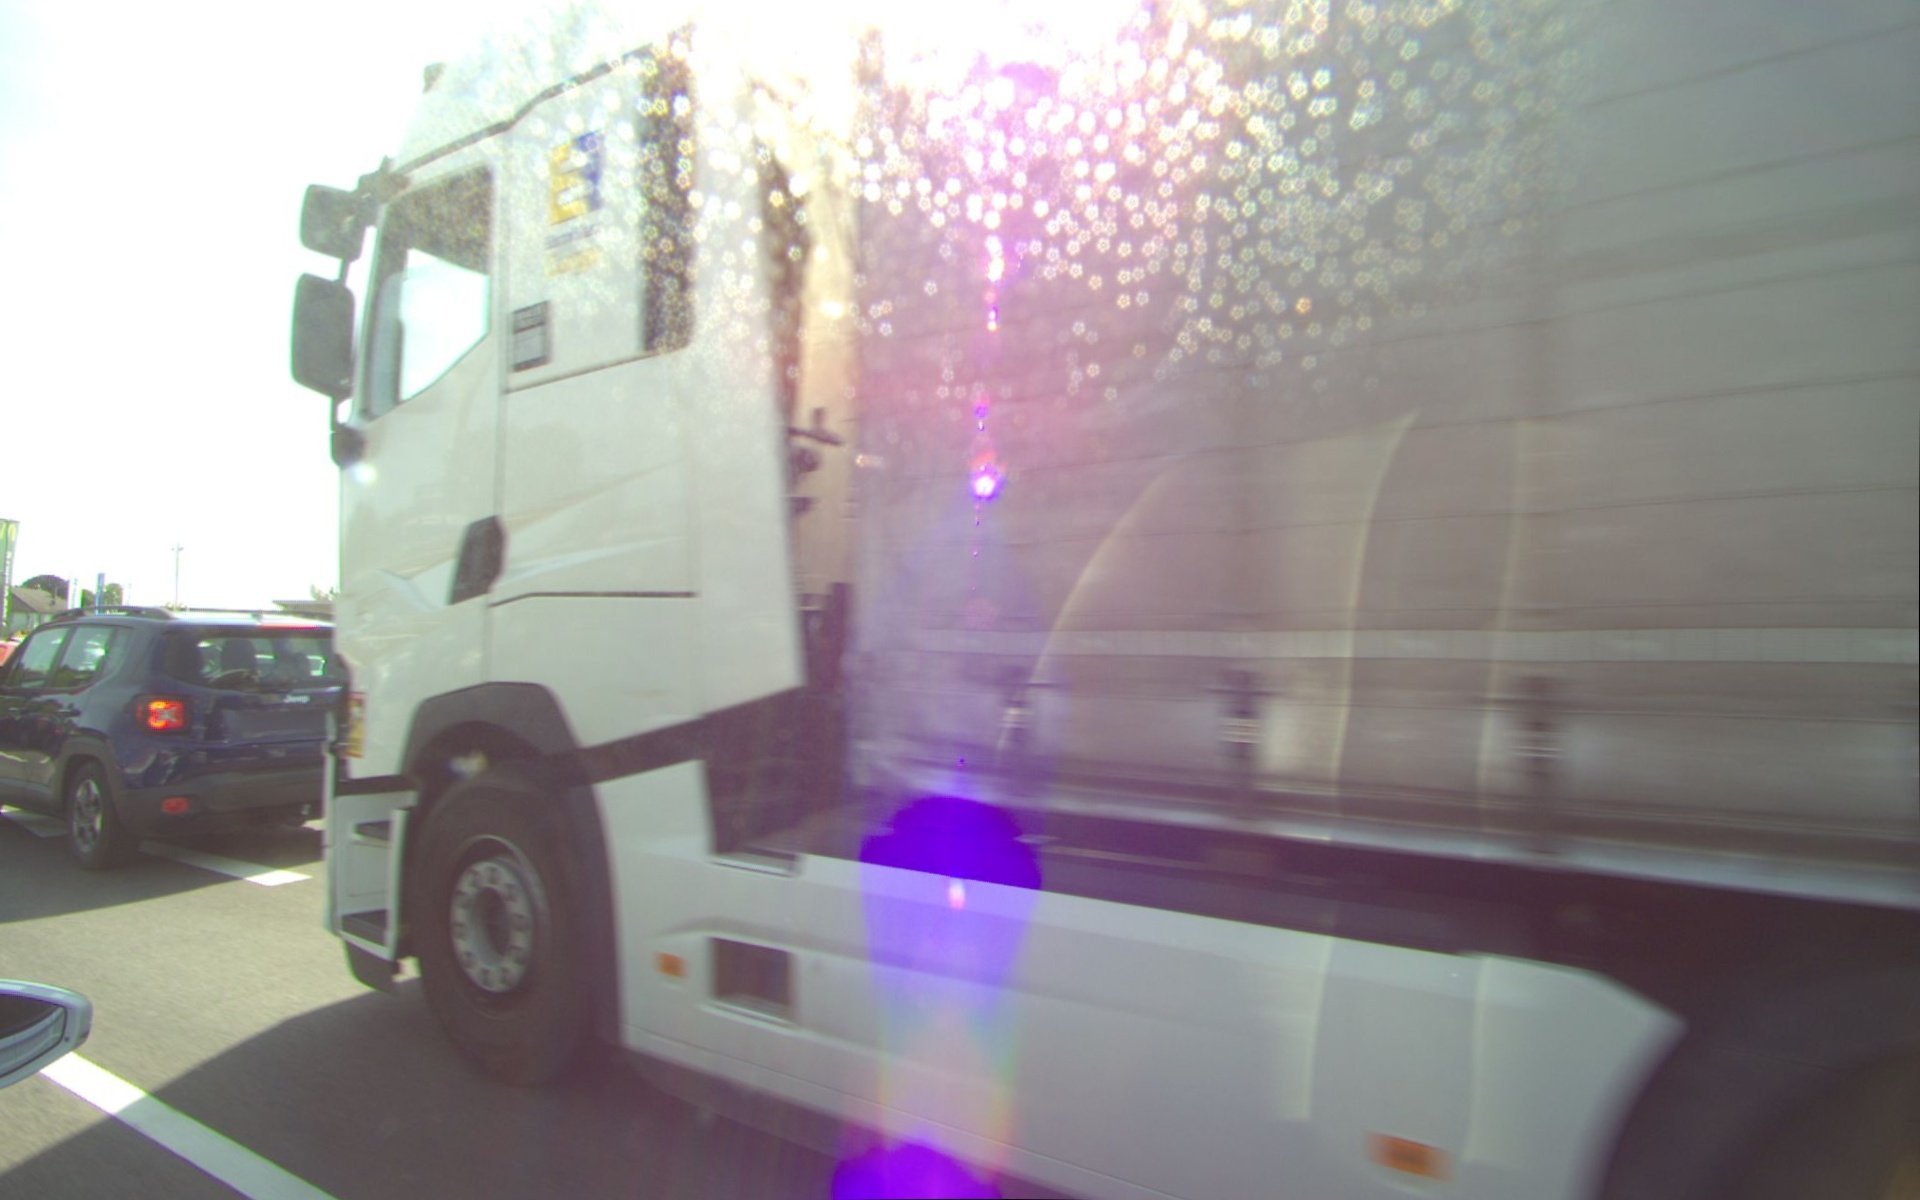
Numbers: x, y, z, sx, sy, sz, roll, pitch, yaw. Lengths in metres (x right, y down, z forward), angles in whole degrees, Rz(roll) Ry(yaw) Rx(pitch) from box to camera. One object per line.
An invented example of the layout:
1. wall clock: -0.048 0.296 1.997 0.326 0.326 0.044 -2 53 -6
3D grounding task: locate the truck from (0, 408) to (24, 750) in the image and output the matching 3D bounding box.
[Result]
1. truck: -19.801 -0.238 15.742 16.340 4.323 2.954 -1 -3 31

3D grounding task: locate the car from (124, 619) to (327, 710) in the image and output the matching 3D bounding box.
1. car: -17.218 1.506 23.722 1.669 1.945 3.849 1 -3 6

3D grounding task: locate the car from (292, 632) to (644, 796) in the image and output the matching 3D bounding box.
1. car: -5.448 1.111 10.965 3.943 1.490 1.656 -1 -2 32

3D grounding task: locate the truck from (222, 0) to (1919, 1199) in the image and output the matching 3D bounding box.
1. truck: 4.707 -0.666 0.699 16.477 4.319 2.885 -1 -2 34

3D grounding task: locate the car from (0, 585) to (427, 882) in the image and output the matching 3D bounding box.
1. car: -6.042 0.821 7.599 3.943 1.706 1.816 -1 -2 32

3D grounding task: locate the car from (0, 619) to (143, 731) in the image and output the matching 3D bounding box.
1. car: -15.787 1.194 16.996 3.943 1.706 1.816 -1 -2 32

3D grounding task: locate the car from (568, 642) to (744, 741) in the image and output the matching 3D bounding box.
1. car: -4.895 1.447 16.730 1.705 1.419 4.041 1 -3 0
